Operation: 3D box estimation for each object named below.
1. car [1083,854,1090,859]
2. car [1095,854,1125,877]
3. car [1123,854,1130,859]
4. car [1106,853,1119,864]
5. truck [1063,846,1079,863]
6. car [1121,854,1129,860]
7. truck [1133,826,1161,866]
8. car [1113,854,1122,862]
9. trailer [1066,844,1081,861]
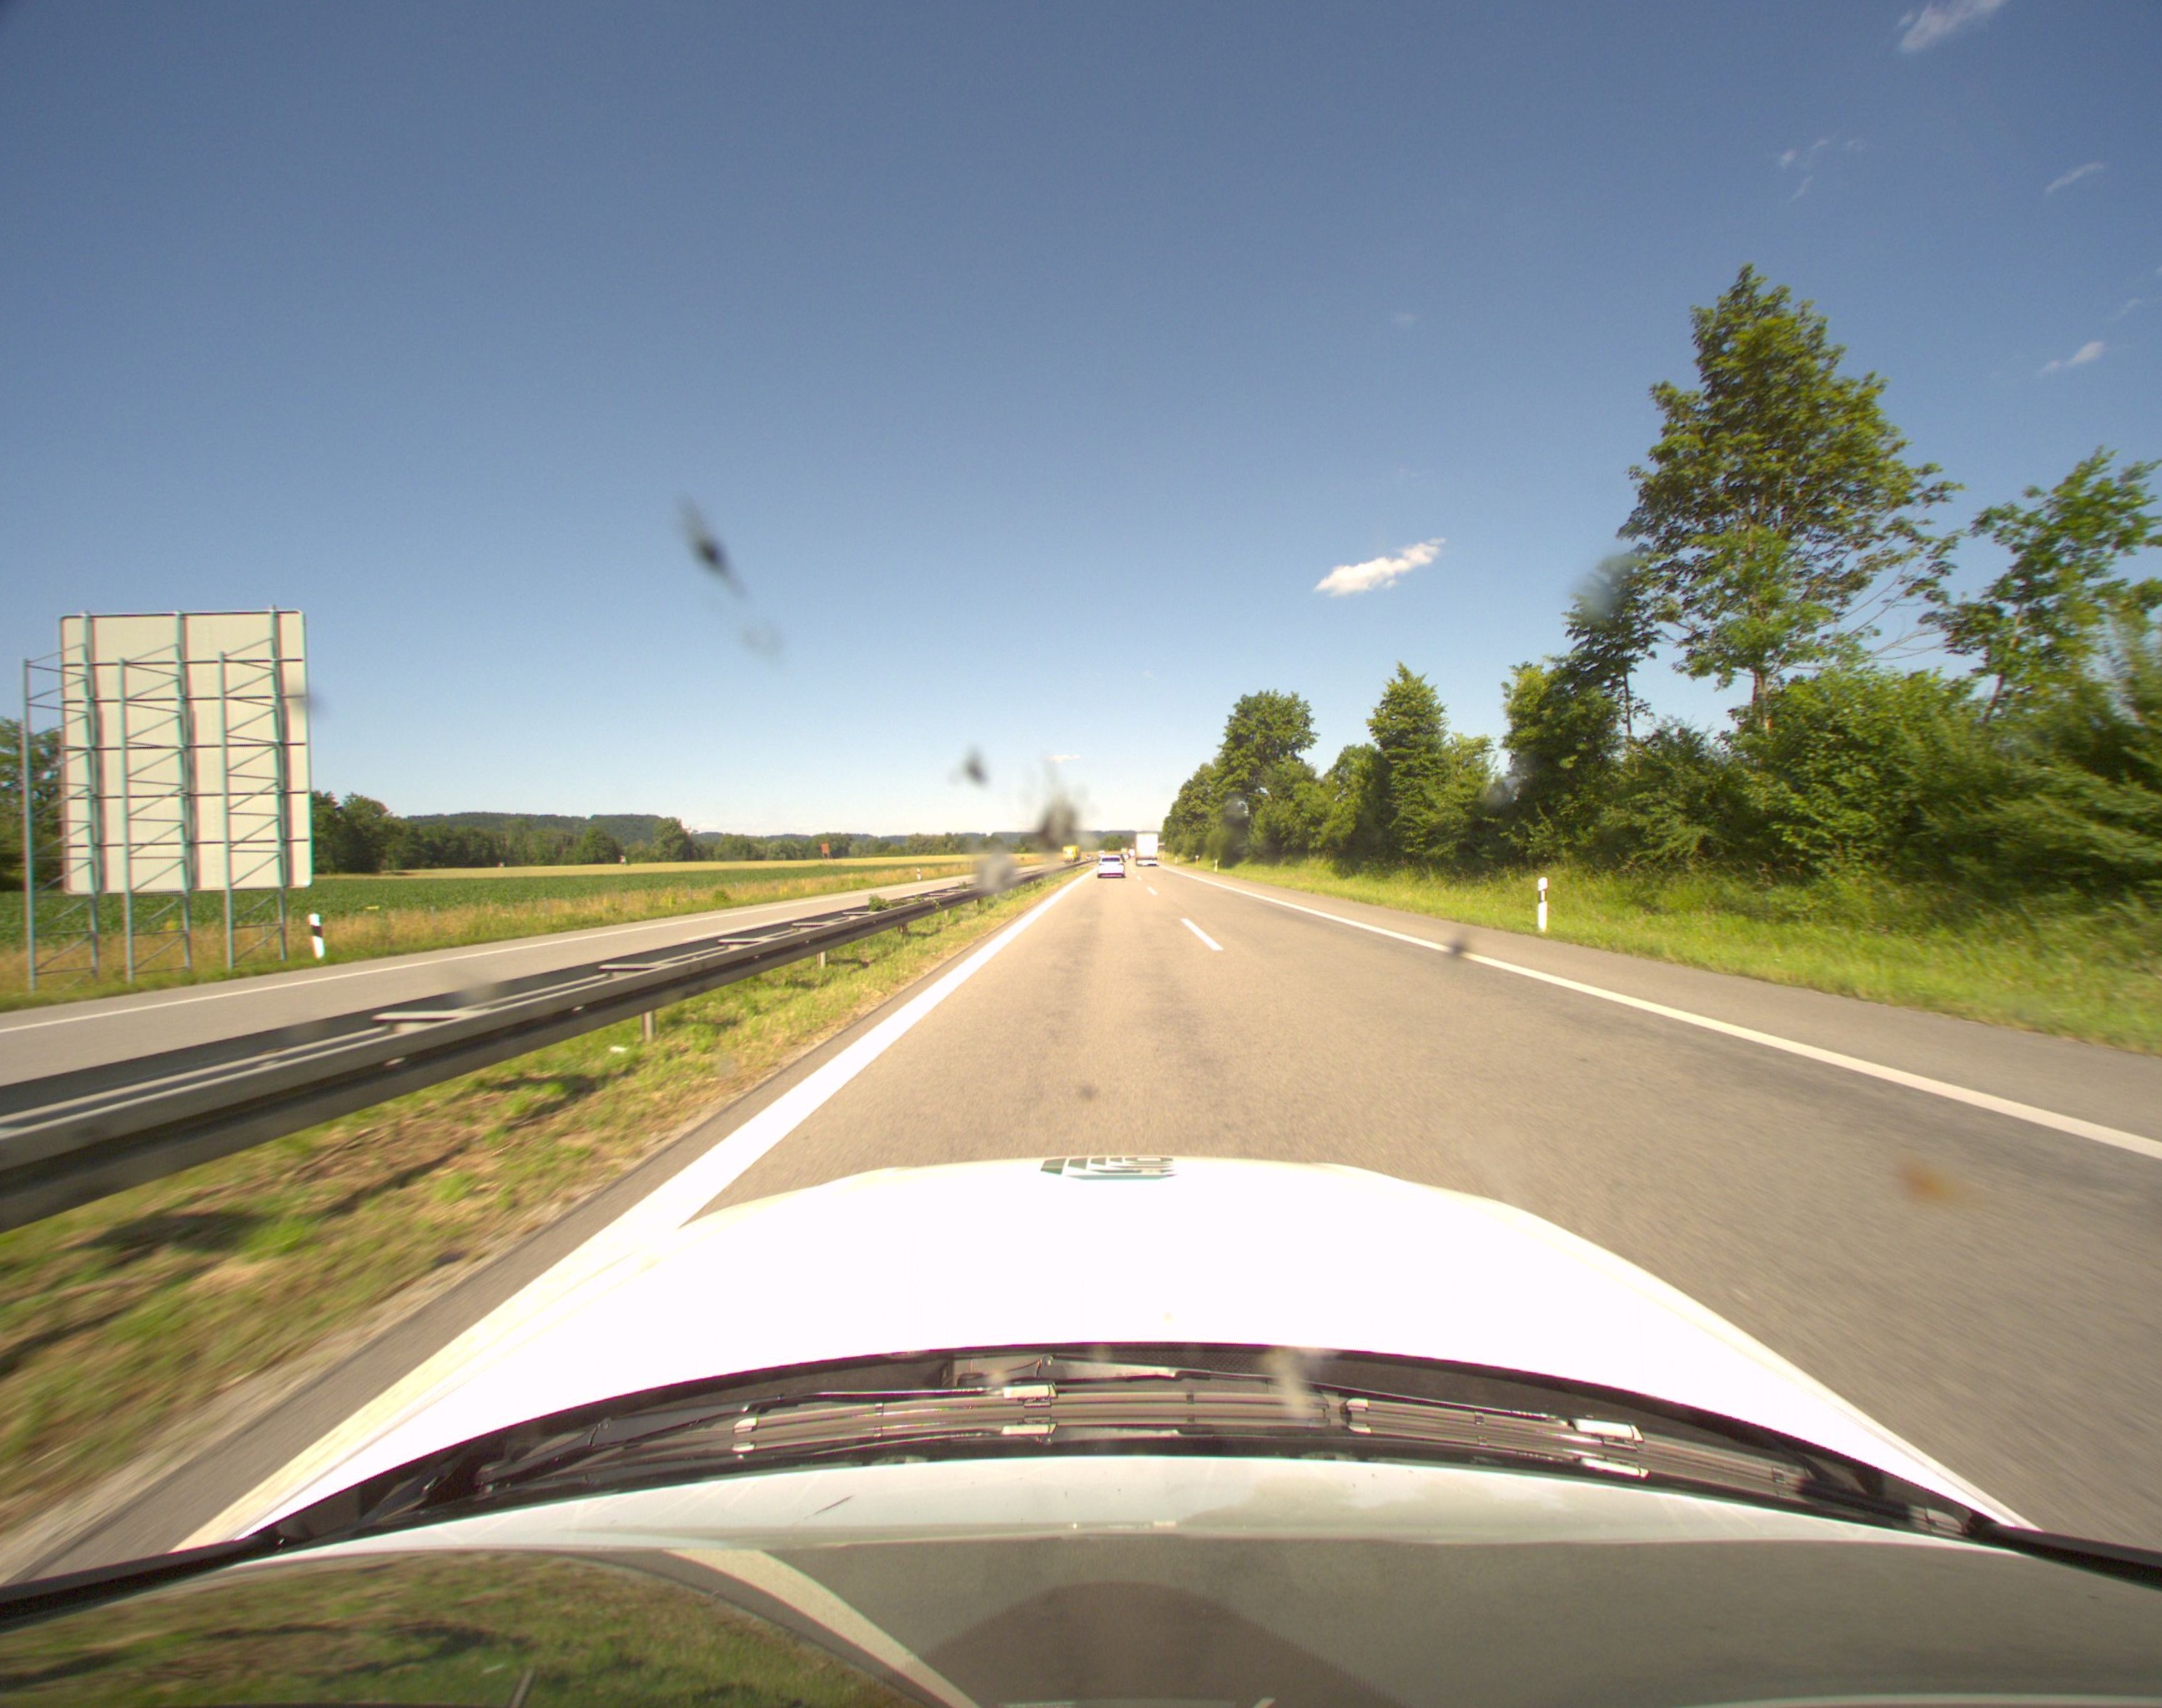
[{"bbox_3d":[1.555,0.793,238.164,1.828,1.376,4.003,-2,0,3],"label":"car"},{"bbox_3d":[1.907,0.731,53.650,1.833,1.421,5.256,0,0,2],"label":"car"},{"bbox_3d":[12.354,0.686,219.795,1.764,1.421,4.367,0,0,3],"label":"car"},{"bbox_3d":[4.247,0.578,109.122,1.764,1.421,4.499,0,0,3],"label":"car"},{"bbox_3d":[-2.059,0.036,175.567,2.724,3.383,9.240,-4,0,3],"label":"truck"},{"bbox_3d":[10.756,0.705,198.506,1.764,1.421,4.368,0,0,3],"label":"car"},{"bbox_3d":[8.197,-0.960,101.872,3.139,4.612,8.913,-2,0,3],"label":"truck"},{"bbox_3d":[7.023,0.763,155.304,1.764,1.421,4.368,0,0,3],"label":"car"},{"bbox_3d":[-1.613,-0.297,184.819,2.724,3.460,9.240,-3,0,3],"label":"trailer"}]
